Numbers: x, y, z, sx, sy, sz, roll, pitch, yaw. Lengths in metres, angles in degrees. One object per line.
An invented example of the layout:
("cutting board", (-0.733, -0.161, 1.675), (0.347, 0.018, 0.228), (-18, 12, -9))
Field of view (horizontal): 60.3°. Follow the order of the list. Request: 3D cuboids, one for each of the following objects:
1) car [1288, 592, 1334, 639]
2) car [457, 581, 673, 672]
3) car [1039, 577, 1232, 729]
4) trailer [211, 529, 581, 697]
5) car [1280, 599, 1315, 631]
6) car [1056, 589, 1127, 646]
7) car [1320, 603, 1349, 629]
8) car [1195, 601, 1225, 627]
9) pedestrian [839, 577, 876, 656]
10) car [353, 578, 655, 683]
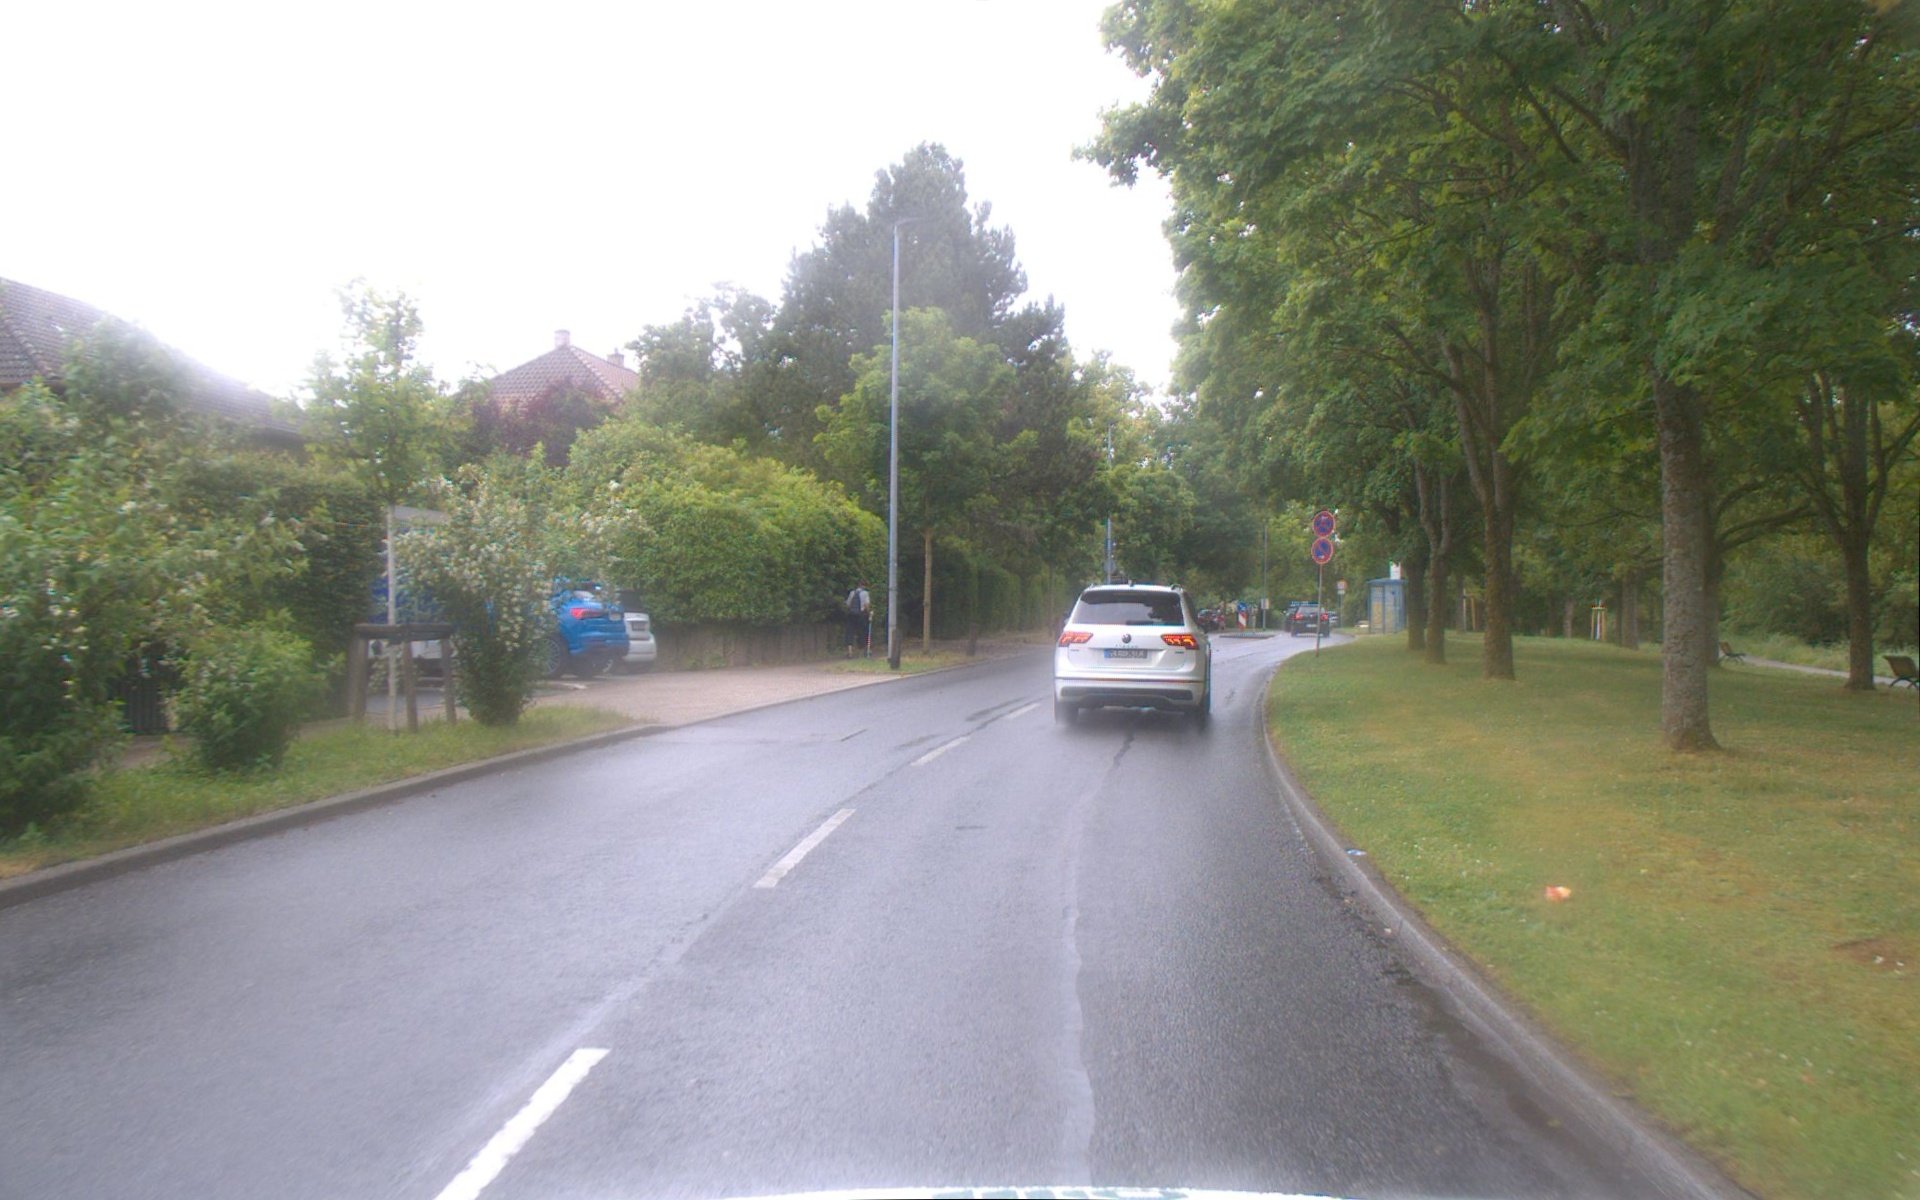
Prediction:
("car", (16.468, 0.751, 77.736), (1.860, 2.049, 3.947), (2, -1, 9))
("car", (-7.032, 0.452, 29.600), (3.330, 1.545, 1.732), (0, 0, 9))
("car", (2.290, 0.584, 20.577), (1.932, 1.682, 4.180), (0, 0, 12))
("trailer", (-7.789, 0.156, 23.017), (4.521, 2.209, 1.816), (0, 0, 9))
("car", (20.265, 0.905, 99.357), (1.951, 1.790, 4.003), (2, -1, 11))
("car", (3.774, 0.469, 47.034), (1.549, 1.503, 3.899), (-1, 0, 11))
("car", (28.041, 1.203, 124.005), (1.951, 1.836, 4.003), (2, -1, 11))
("car", (18.257, 1.015, 120.729), (1.951, 1.793, 4.003), (2, -1, 11))
("pedestrian", (-2.223, 0.355, 35.951), (0.761, 1.691, 0.843), (0, 0, -2))
("car", (-7.195, 0.462, 26.347), (4.147, 1.566, 2.054), (0, 0, 9))
